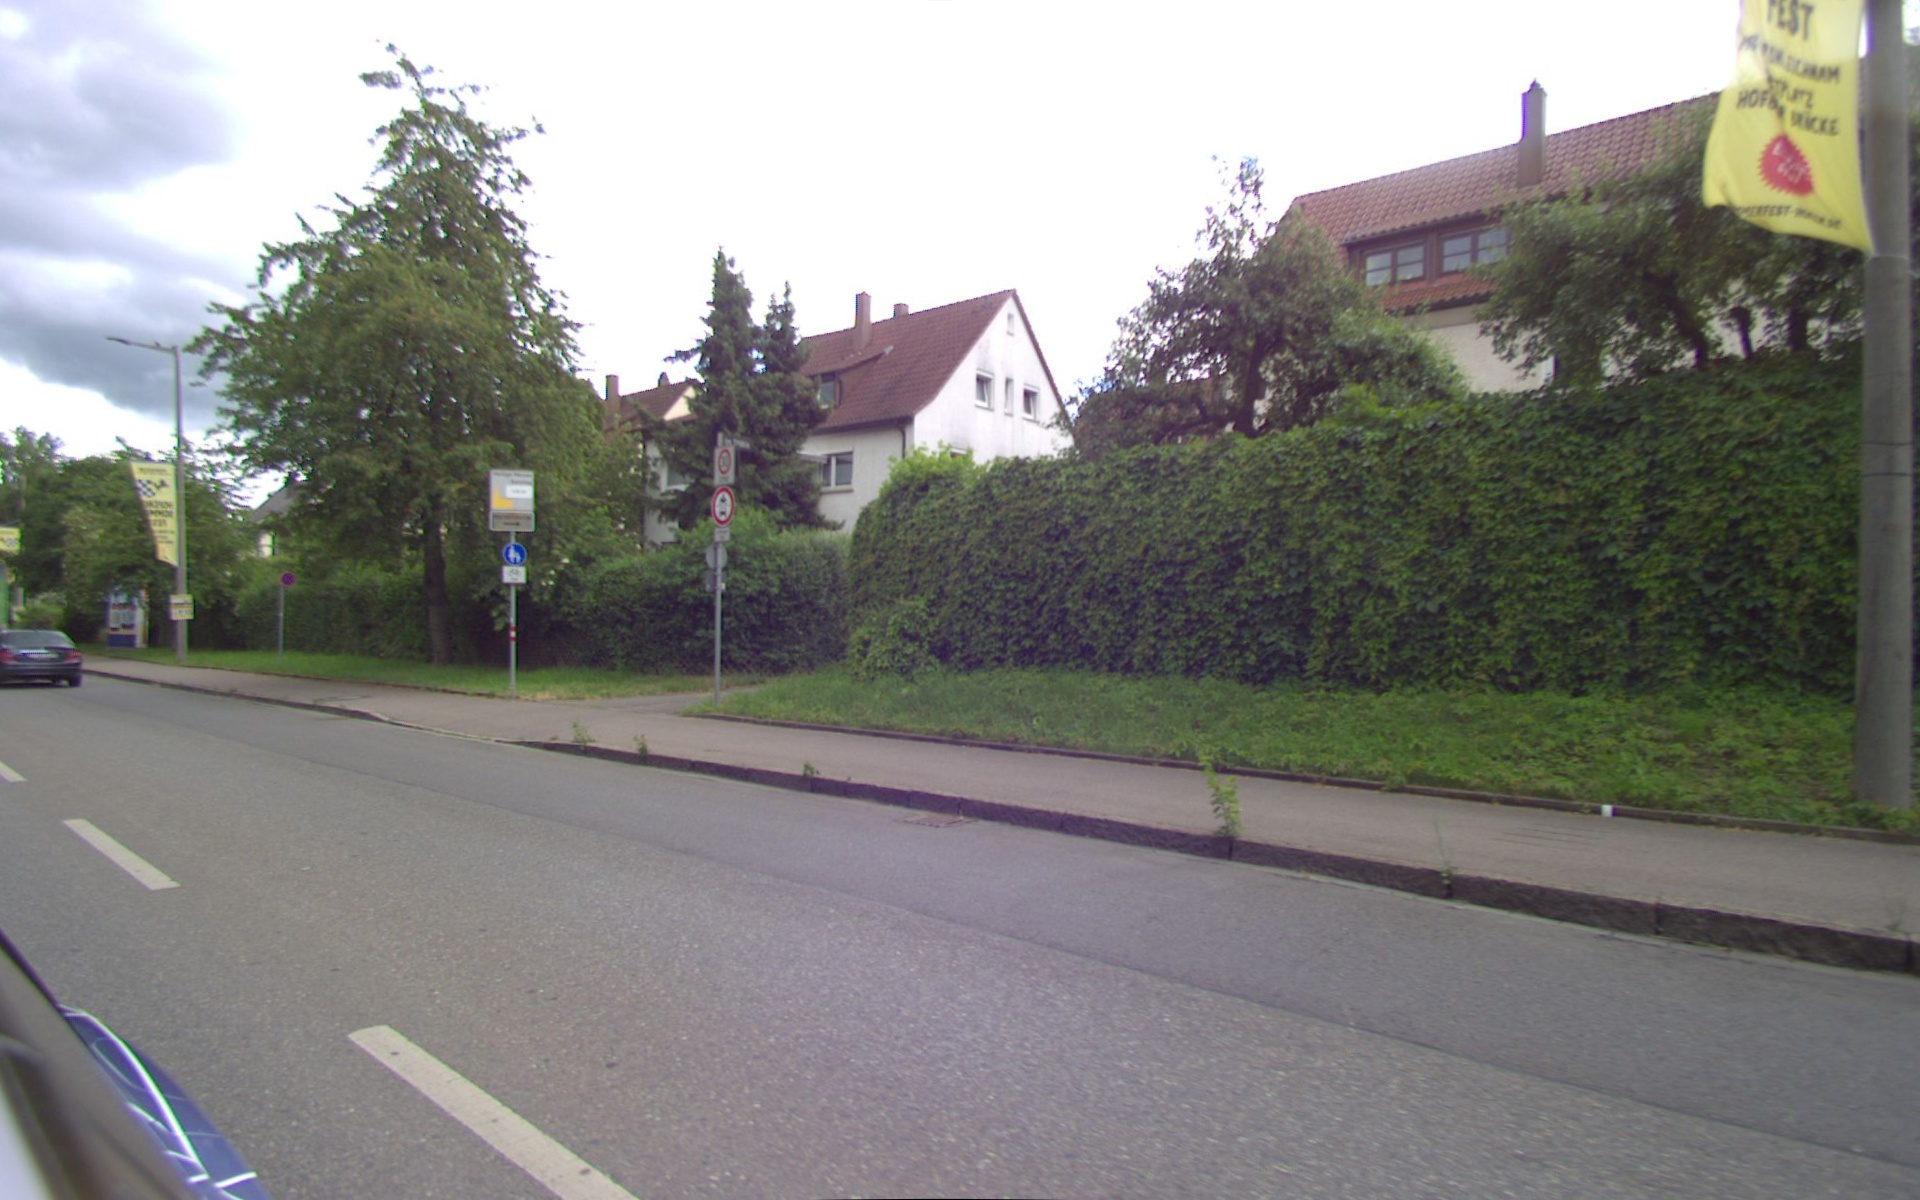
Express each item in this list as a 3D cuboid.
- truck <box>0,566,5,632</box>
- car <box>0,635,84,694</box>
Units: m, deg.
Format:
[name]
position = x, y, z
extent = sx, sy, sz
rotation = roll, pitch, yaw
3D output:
[truck]
position = -42.634, 0.673, 42.340
extent = 10.612, 4.074, 2.524
rotation = -1, -4, 40
[car]
position = -23.780, 1.589, 25.655
extent = 4.236, 1.385, 1.715
rotation = -2, -3, 40
